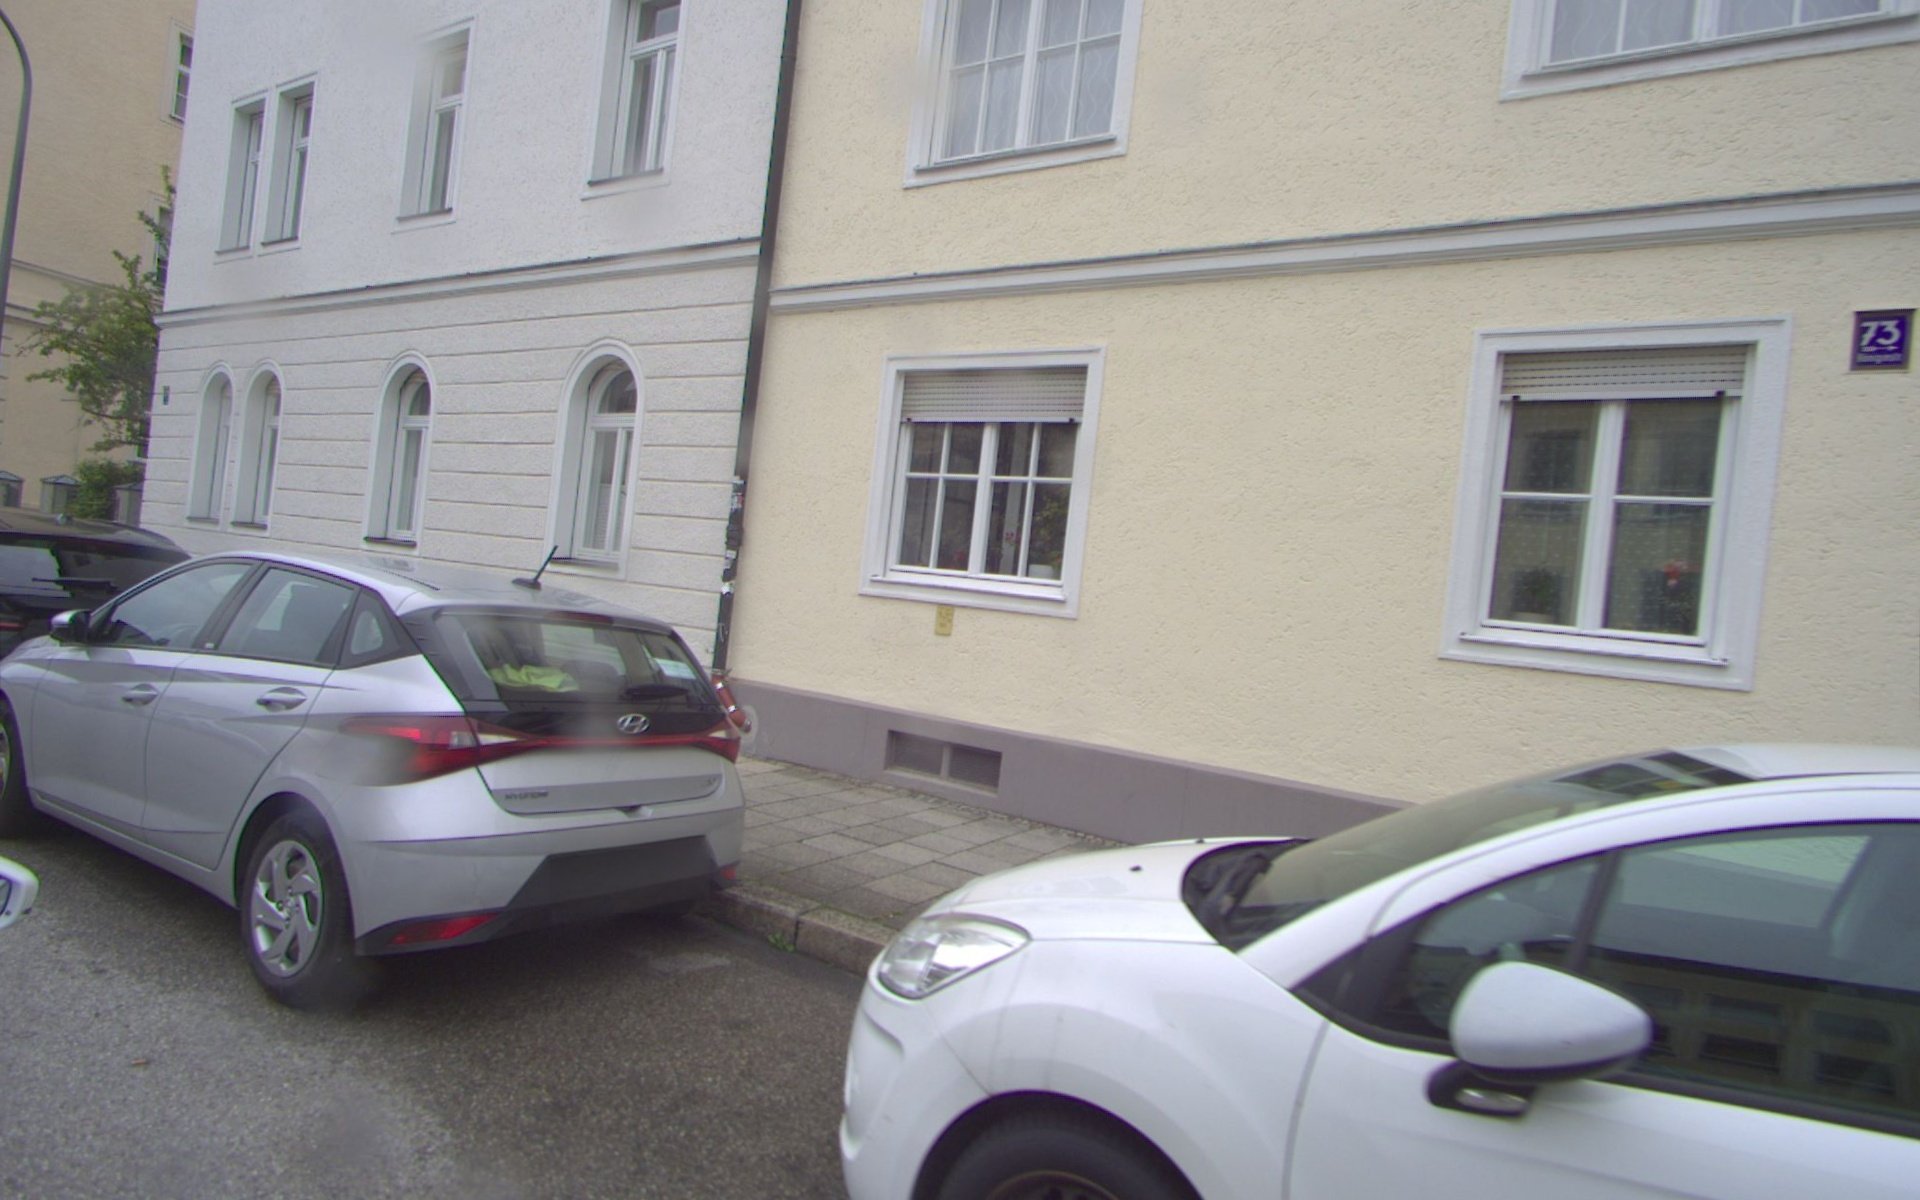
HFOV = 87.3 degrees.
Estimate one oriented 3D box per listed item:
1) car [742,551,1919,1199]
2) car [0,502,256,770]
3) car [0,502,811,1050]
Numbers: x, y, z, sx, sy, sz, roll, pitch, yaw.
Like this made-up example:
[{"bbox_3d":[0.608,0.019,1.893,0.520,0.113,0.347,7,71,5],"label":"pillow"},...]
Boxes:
[{"bbox_3d":[1.599,0.907,1.961,3.734,1.509,1.602,7,0,30],"label":"car"},{"bbox_3d":[-6.874,0.021,6.898,4.346,1.449,1.594,7,-2,31],"label":"car"},{"bbox_3d":[-2.807,0.481,4.607,3.878,1.449,1.696,6,-2,31],"label":"car"}]
